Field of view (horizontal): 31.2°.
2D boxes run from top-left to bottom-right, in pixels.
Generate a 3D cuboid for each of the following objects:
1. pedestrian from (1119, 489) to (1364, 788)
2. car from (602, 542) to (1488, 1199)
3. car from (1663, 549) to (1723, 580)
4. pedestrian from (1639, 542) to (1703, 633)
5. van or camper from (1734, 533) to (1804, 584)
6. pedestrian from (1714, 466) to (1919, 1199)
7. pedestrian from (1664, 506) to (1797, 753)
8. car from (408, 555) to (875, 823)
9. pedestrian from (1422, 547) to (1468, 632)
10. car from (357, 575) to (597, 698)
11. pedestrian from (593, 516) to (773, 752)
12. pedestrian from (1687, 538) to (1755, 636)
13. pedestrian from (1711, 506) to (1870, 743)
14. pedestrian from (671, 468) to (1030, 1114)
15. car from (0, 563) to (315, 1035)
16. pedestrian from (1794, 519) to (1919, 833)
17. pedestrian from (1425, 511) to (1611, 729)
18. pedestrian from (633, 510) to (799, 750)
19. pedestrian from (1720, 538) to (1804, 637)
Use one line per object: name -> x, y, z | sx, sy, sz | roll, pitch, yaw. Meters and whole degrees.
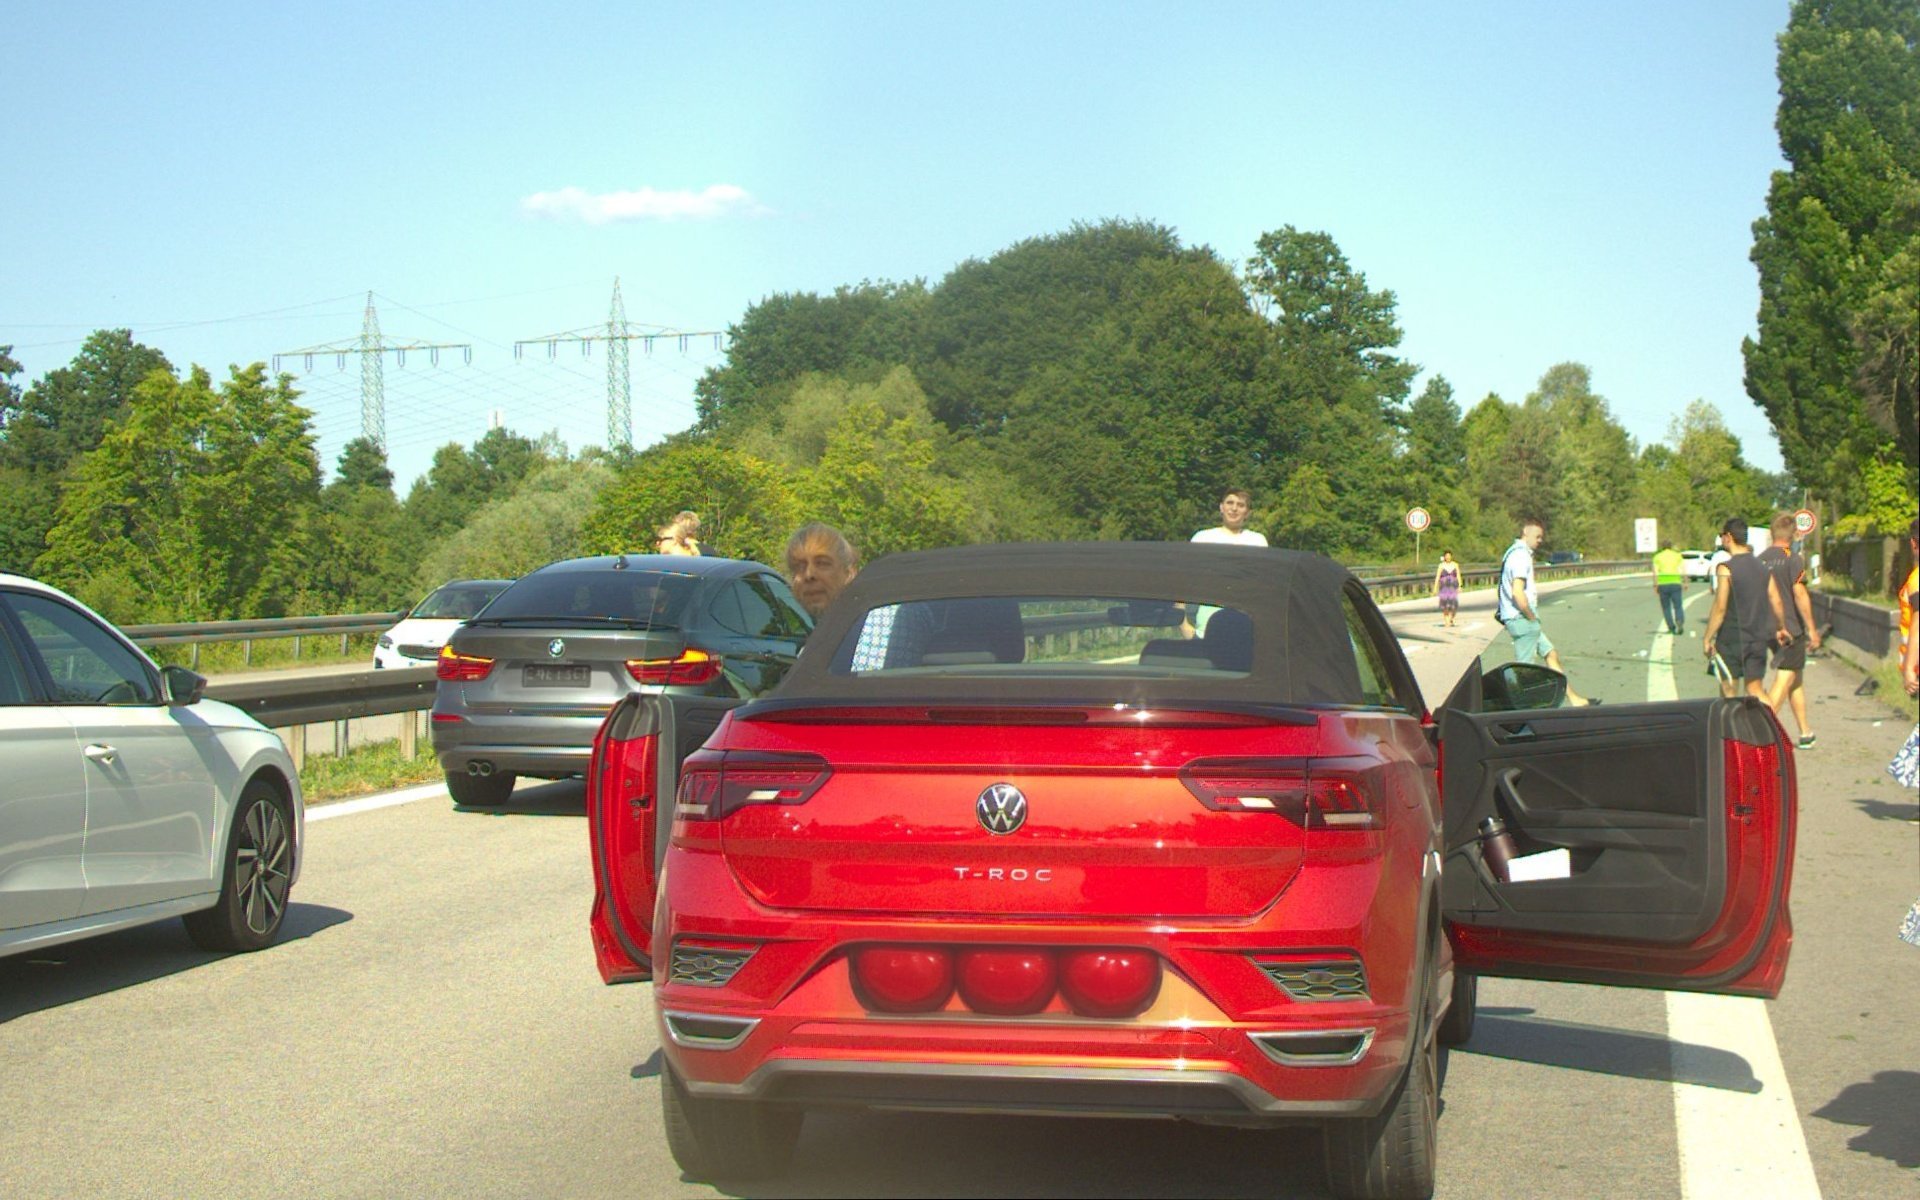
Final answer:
pedestrian -> 1.857, 0.238, 22.811 | 1.105, 1.906, 1.257 | -1, 1, -25
car -> 0.473, 0.590, 9.299 | 1.733, 1.482, 4.208 | 1, 1, 11
car -> 34.946, -1.698, 163.844 | 1.735, 1.482, 4.204 | 1, 1, 27
pedestrian -> 13.328, -0.238, 64.420 | 1.057, 1.683, 1.016 | 1, 0, 18
van or camper -> 36.916, -1.889, 156.760 | 1.997, 2.308, 4.463 | 1, 1, 28
pedestrian -> 2.433, 0.548, 7.730 | 1.125, 1.689, 0.892 | -2, 1, -36
pedestrian -> 5.475, 0.202, 24.462 | 0.895, 1.719, 0.754 | 1, 0, 12
car -> -1.806, 0.452, 20.912 | 1.695, 1.421, 4.332 | 1, 1, 11
pedestrian -> 9.721, -0.214, 68.847 | 0.792, 1.683, 0.791 | 1, 0, 16
car -> -6.009, 0.419, 43.241 | 1.695, 1.421, 4.303 | 1, 1, 11
pedestrian -> -2.115, 0.248, 26.379 | 1.115, 1.757, 1.044 | -1, 1, 10
pedestrian -> 13.329, -0.236, 60.226 | 1.114, 1.683, 0.973 | 1, 0, 11
pedestrian -> 6.279, 0.181, 26.006 | 0.811, 1.753, 0.828 | 0, 0, -24
pedestrian -> -0.281, 0.498, 9.340 | 0.839, 1.677, 0.743 | -1, 1, 7
car -> -3.705, 0.613, 11.310 | 1.695, 1.436, 4.208 | 1, 1, 11
pedestrian -> 5.304, 0.386, 18.548 | 0.957, 1.648, 1.278 | -1, 1, -24
pedestrian -> 4.675, 0.157, 28.850 | 1.088, 1.782, 1.108 | 0, 0, -25
pedestrian -> -1.947, 0.232, 27.579 | 1.066, 1.876, 1.093 | -1, 1, 10
pedestrian -> 13.882, -0.222, 59.493 | 1.007, 1.683, 1.000 | 0, 0, -22
